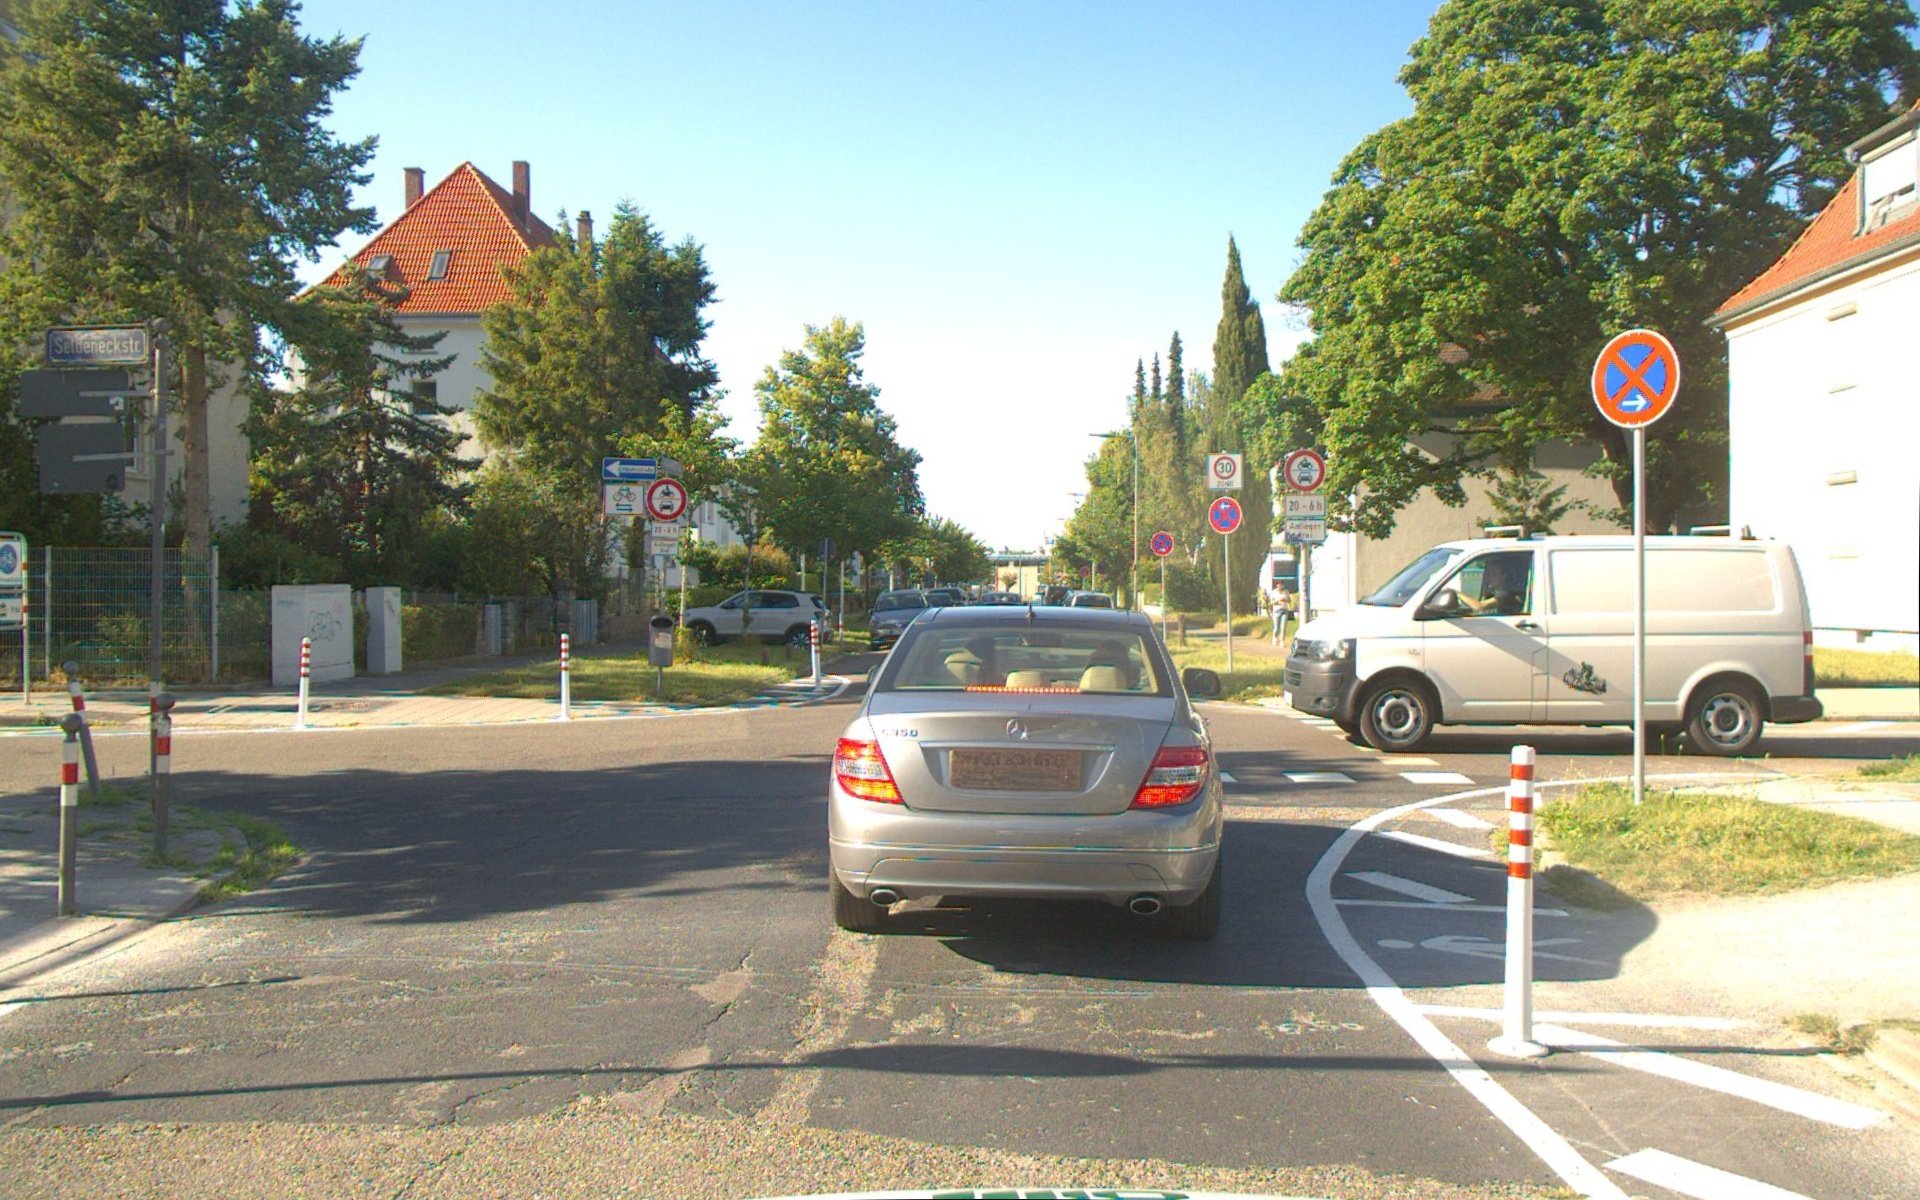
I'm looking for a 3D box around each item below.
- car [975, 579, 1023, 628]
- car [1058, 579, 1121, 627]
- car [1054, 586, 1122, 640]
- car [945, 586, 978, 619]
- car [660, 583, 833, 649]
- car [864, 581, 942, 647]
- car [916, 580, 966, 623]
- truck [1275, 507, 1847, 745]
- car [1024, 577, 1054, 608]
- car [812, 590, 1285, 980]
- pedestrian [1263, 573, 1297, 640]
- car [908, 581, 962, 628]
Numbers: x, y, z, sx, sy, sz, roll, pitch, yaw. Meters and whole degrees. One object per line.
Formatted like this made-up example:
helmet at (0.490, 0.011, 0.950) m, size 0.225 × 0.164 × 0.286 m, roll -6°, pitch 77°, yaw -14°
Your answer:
car at (1.344, 0.106, 58.156) m, size 1.564 × 1.638 × 3.644 m, roll -1°, pitch 1°, yaw 0°
car at (4.618, 0.091, 59.635) m, size 1.953 × 1.638 × 4.000 m, roll -1°, pitch 1°, yaw 0°
car at (3.750, 0.355, 48.863) m, size 1.698 × 1.505 × 3.725 m, roll -1°, pitch 1°, yaw 0°
car at (0.086, 0.103, 89.713) m, size 1.699 × 1.637 × 3.935 m, roll -4°, pitch 1°, yaw 0°
car at (-5.326, 0.390, 41.673) m, size 4.107 × 1.591 × 1.842 m, roll 0°, pitch 0°, yaw -1°
car at (-1.555, 0.360, 46.716) m, size 1.953 × 1.637 × 4.000 m, roll -4°, pitch 1°, yaw 0°
car at (-0.792, 0.043, 70.314) m, size 1.953 × 1.637 × 4.000 m, roll -4°, pitch 1°, yaw 0°
truck at (5.566, 0.224, 15.834) m, size 4.757 × 2.071 × 2.001 m, roll -1°, pitch 1°, yaw 2°
car at (4.989, -0.484, 104.629) m, size 1.816 × 1.873 × 4.001 m, roll -1°, pitch 1°, yaw 1°
car at (0.443, 0.687, 8.306) m, size 1.798 × 1.466 × 4.002 m, roll 0°, pitch 0°, yaw 3°
pedestrian at (7.903, 0.162, 40.870) m, size 0.750 × 1.639 × 0.835 m, roll -1°, pitch 0°, yaw 7°
car at (-0.937, 0.156, 64.520) m, size 1.953 × 1.637 × 4.000 m, roll -4°, pitch 1°, yaw 0°
